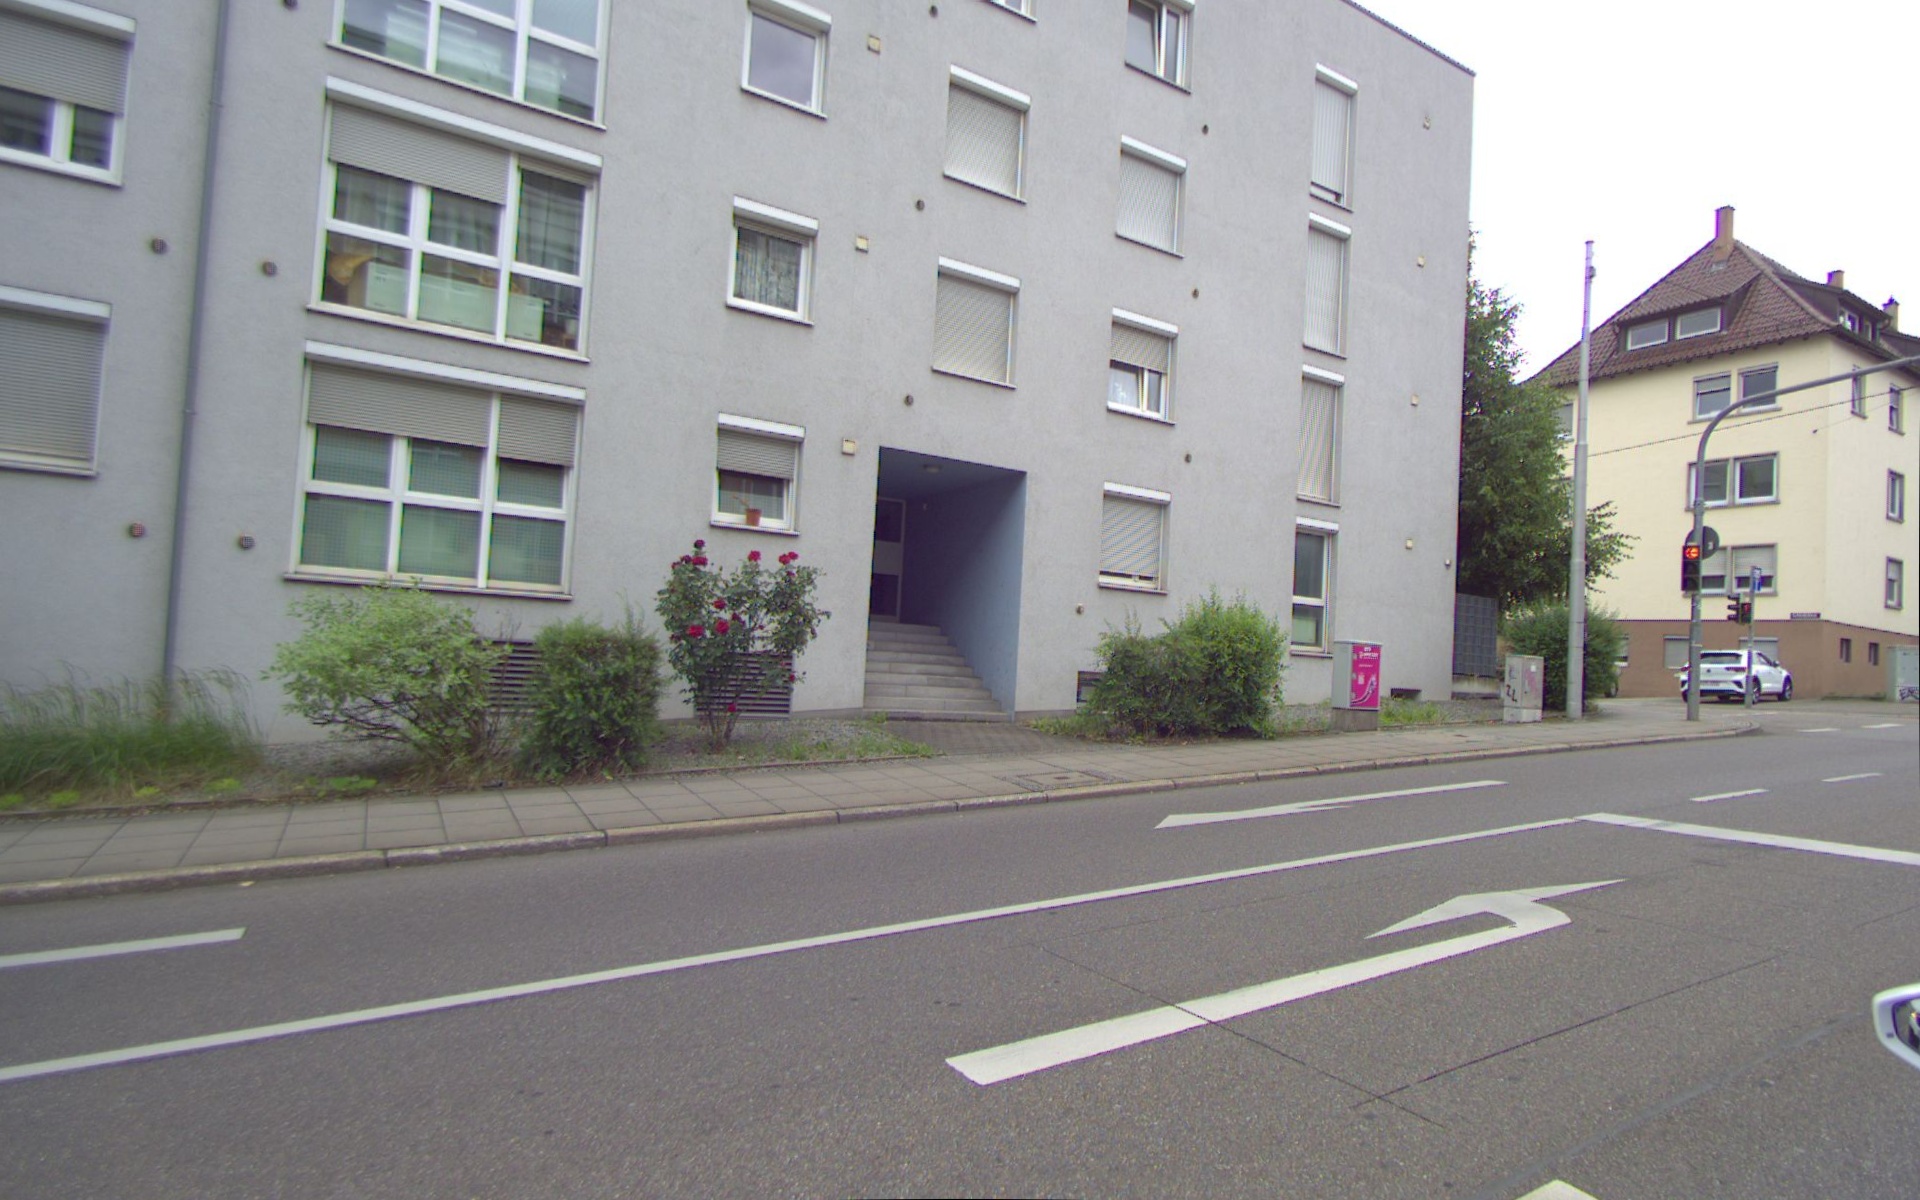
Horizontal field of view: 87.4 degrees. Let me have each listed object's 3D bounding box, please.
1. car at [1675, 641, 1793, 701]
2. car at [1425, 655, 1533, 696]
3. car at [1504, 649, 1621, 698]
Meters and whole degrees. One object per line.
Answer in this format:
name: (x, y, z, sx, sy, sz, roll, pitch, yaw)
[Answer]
car: (23.229, 2.105, 30.120, 3.960, 1.683, 1.660, 2, -4, -35)
car: (19.000, 2.731, 36.741, 3.953, 1.380, 1.662, 2, -1, -30)
car: (20.674, 2.501, 34.449, 4.053, 1.566, 1.662, 2, -4, -30)
